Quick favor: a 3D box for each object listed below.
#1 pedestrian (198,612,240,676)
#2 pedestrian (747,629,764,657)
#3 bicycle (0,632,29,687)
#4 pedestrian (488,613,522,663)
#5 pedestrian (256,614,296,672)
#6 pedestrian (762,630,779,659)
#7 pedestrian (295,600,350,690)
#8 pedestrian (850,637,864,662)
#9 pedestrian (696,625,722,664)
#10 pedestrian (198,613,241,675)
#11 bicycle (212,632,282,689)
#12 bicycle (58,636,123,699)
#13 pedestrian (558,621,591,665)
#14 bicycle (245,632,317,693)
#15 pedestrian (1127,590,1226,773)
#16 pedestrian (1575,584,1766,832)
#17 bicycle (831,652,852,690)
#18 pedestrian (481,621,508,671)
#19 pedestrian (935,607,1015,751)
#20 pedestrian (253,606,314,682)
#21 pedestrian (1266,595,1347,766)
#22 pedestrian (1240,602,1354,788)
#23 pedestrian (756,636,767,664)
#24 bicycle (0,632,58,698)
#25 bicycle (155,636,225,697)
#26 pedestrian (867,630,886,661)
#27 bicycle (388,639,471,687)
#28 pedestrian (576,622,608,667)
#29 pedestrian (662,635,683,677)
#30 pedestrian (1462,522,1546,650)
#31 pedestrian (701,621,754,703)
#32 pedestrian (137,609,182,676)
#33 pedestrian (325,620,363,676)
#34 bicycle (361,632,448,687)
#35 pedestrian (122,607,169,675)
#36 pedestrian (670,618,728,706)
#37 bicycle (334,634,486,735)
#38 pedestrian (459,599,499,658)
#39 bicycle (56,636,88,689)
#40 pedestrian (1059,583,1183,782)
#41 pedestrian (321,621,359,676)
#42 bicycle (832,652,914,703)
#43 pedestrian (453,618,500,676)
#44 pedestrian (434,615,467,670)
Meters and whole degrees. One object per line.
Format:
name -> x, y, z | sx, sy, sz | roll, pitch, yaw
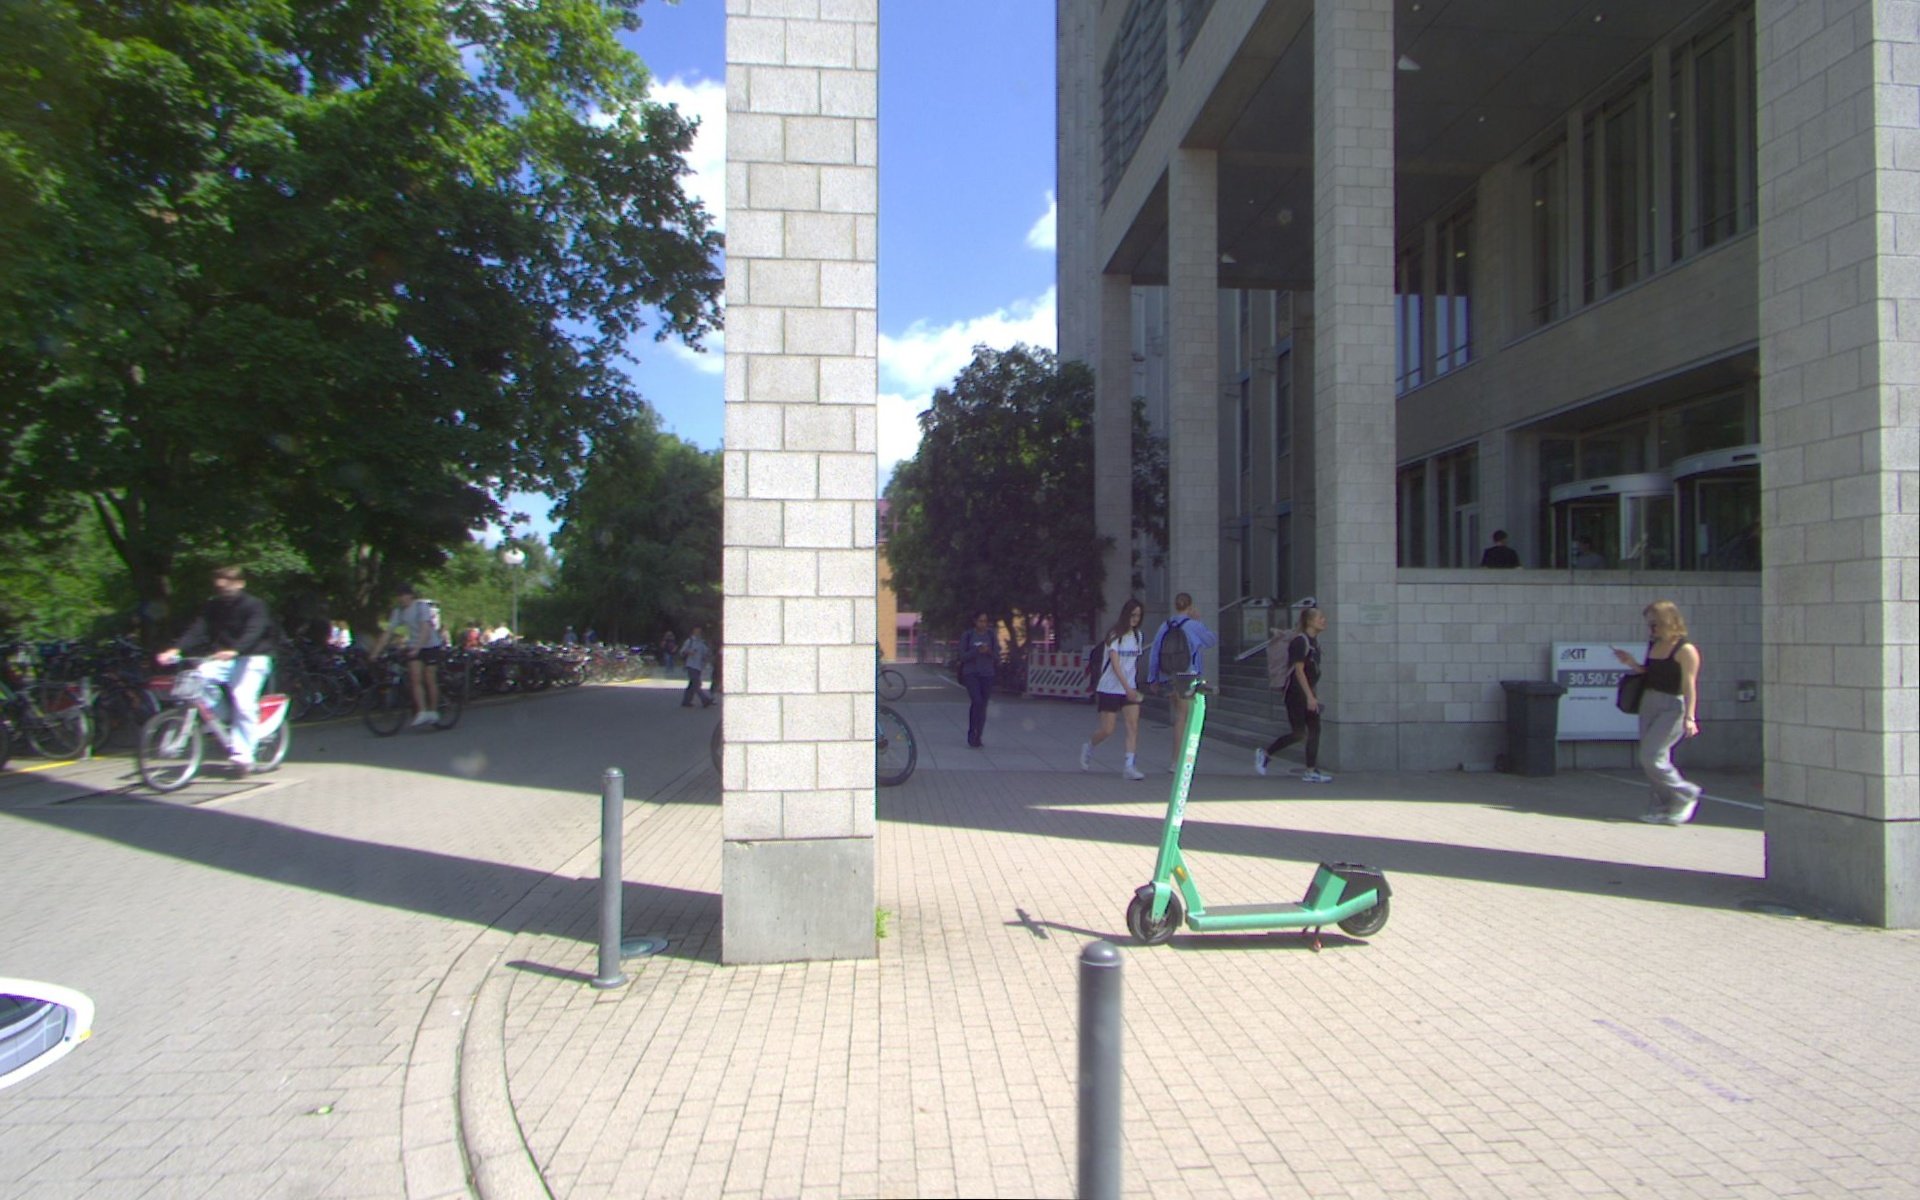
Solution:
pedestrian -> -21.500, 1.277, 29.041 | 0.897, 1.796, 0.764 | 3, -2, -38
pedestrian -> -13.854, 2.886, 67.908 | 0.774, 1.868, 1.113 | 3, -2, -29
bicycle -> -19.761, 1.218, 20.860 | 0.469, 1.097, 1.684 | 3, -3, -42
pedestrian -> -15.924, 1.329, 35.063 | 0.920, 1.746, 0.677 | 1, -1, -10
pedestrian -> -20.359, 1.286, 29.805 | 0.897, 1.701, 0.764 | 3, -2, -38
pedestrian -> -12.598, 2.964, 66.632 | 0.676, 1.866, 0.778 | -1, -3, 37
pedestrian -> -13.346, 0.937, 20.955 | 0.702, 1.829, 0.764 | 0, -2, 42
pedestrian -> -7.563, 3.651, 73.630 | 0.887, 1.748, 0.686 | 0, -4, 0
pedestrian -> -12.209, 2.169, 48.723 | 0.606, 1.858, 1.044 | 0, -3, 34
pedestrian -> -20.937, 1.254, 28.321 | 0.897, 1.701, 0.764 | 3, -2, -38
bicycle -> -14.502, 1.219, 20.355 | 1.675, 1.122, 0.500 | 0, -3, 32
bicycle -> -16.189, 1.239, 18.628 | 1.677, 1.122, 0.500 | -1, -3, 36
pedestrian -> -16.372, 1.841, 42.532 | 0.758, 1.826, 0.981 | 0, -2, 27
bicycle -> -14.155, 1.281, 20.863 | 1.675, 1.214, 0.573 | 0, -3, 32
pedestrian -> 2.189, 0.814, 10.113 | 0.637, 1.745, 0.860 | -2, -4, 41
pedestrian -> 5.098, 0.763, 7.215 | 0.866, 1.676, 0.702 | 2, -2, -12
bicycle -> -3.381, 2.002, 28.562 | 0.528, 1.052, 1.859 | 0, -3, -5
pedestrian -> -16.623, 1.628, 35.763 | 0.679, 1.746, 0.725 | 1, -2, -41
pedestrian -> 0.158, 0.907, 11.685 | 0.805, 1.594, 0.881 | 1, -1, -6
pedestrian -> -15.732, 1.019, 23.282 | 0.759, 1.724, 0.903 | 0, -2, 33
pedestrian -> 3.865, 0.876, 11.170 | 0.677, 1.826, 0.585 | 1, -1, -38
pedestrian -> 3.112, 0.847, 9.264 | 0.582, 1.619, 0.821 | 1, -2, -35
pedestrian -> -11.976, 3.031, 60.376 | 0.560, 1.630, 0.918 | 2, -3, -9
bicycle -> -16.758, 1.138, 17.854 | 1.677, 1.122, 0.628 | -1, -3, 36
bicycle -> -15.089, 1.290, 19.610 | 1.675, 1.122, 0.500 | 0, -3, 32
pedestrian -> -5.275, 2.873, 63.117 | 1.012, 1.881, 0.889 | 2, -2, 6
bicycle -> -12.937, 1.529, 24.449 | 1.669, 1.122, 0.502 | 2, -2, -16
pedestrian -> -15.495, 1.869, 42.199 | 0.822, 1.838, 0.880 | 0, -2, 28
pedestrian -> -12.012, 2.334, 41.842 | 0.756, 1.701, 0.906 | 1, -1, -12
pedestrian -> 8.005, -0.179, 14.767 | 0.689, 1.826, 0.882 | 1, -1, -9
pedestrian -> -4.799, 1.272, 20.679 | 0.732, 1.637, 0.802 | -1, -2, 40
pedestrian -> -22.087, 1.181, 27.659 | 0.897, 1.796, 0.764 | 3, -2, -38
pedestrian -> -19.122, 1.503, 31.085 | 0.897, 1.701, 0.764 | 3, -2, -38
bicycle -> -12.950, 1.389, 23.390 | 1.669, 1.235, 0.502 | 2, -2, -16
pedestrian -> -21.756, 1.102, 26.763 | 0.897, 1.796, 0.764 | 3, -2, -38
pedestrian -> -5.145, 1.203, 19.755 | 0.886, 1.691, 0.672 | 0, -1, 33
bicycle -> -7.111, 1.076, 13.086 | 0.789, 1.186, 1.888 | 2, -3, 4
pedestrian -> -15.558, 0.923, 32.417 | 0.676, 1.859, 0.937 | 0, -1, 30
bicycle -> -19.270, 1.346, 21.728 | 0.469, 1.097, 1.684 | 3, -3, -42
pedestrian -> 1.489, 0.743, 9.336 | 0.769, 1.746, 0.855 | 1, -1, -32
pedestrian -> -19.620, 1.547, 31.700 | 0.897, 1.701, 0.764 | 3, -2, -38
bicycle -> -1.854, 1.640, 21.369 | 1.711, 1.053, 0.449 | 0, -1, -9
pedestrian -> -14.971, 1.447, 31.026 | 0.708, 1.746, 1.061 | 0, -1, 28
pedestrian -> -16.754, 1.406, 32.911 | 0.673, 1.745, 0.731 | 2, -2, -6
